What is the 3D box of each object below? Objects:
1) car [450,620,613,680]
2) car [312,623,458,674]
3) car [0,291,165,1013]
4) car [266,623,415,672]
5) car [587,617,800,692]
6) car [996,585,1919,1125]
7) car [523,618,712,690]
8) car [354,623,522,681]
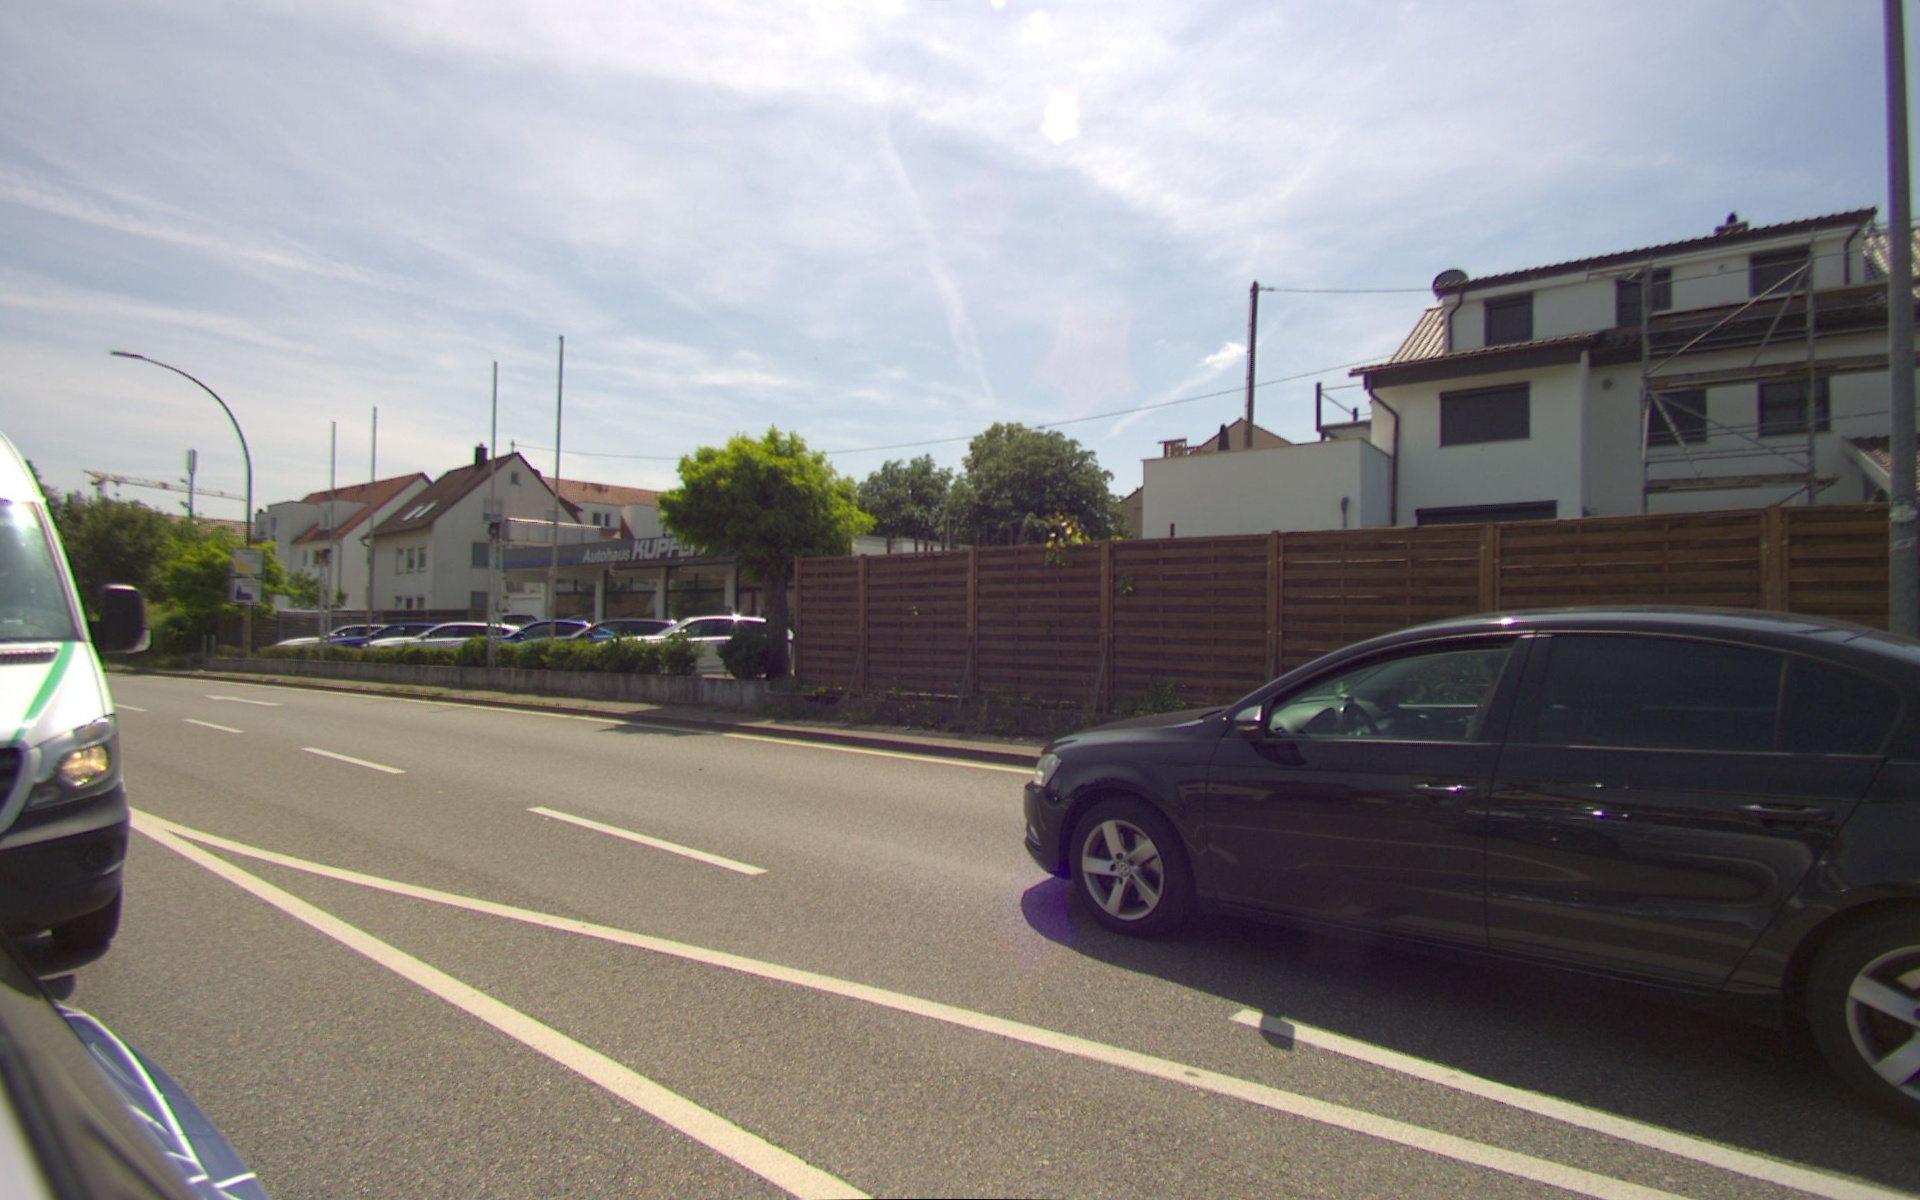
[{"bbox_3d":[-11.563,1.305,27.389,3.931,1.453,1.860,-1,-1,-25],"label":"car"},{"bbox_3d":[-18.493,1.517,32.768,3.930,1.475,2.006,-1,-1,-24],"label":"car"},{"bbox_3d":[-5.957,0.255,5.085,5.628,2.619,1.953,-2,-1,40],"label":"car"},{"bbox_3d":[-21.493,1.620,35.338,4.192,1.541,2.006,-1,-1,-24],"label":"car"},{"bbox_3d":[-5.883,1.142,22.360,4.264,1.471,1.861,0,-1,-26],"label":"car"},{"bbox_3d":[2.469,0.701,3.978,4.615,1.428,1.795,-2,-2,43],"label":"car"},{"bbox_3d":[-8.457,1.276,25.017,4.187,1.557,1.856,-1,-1,-27],"label":"car"},{"bbox_3d":[-15.278,1.487,29.901,4.238,1.530,2.006,-1,-1,-23],"label":"car"}]
